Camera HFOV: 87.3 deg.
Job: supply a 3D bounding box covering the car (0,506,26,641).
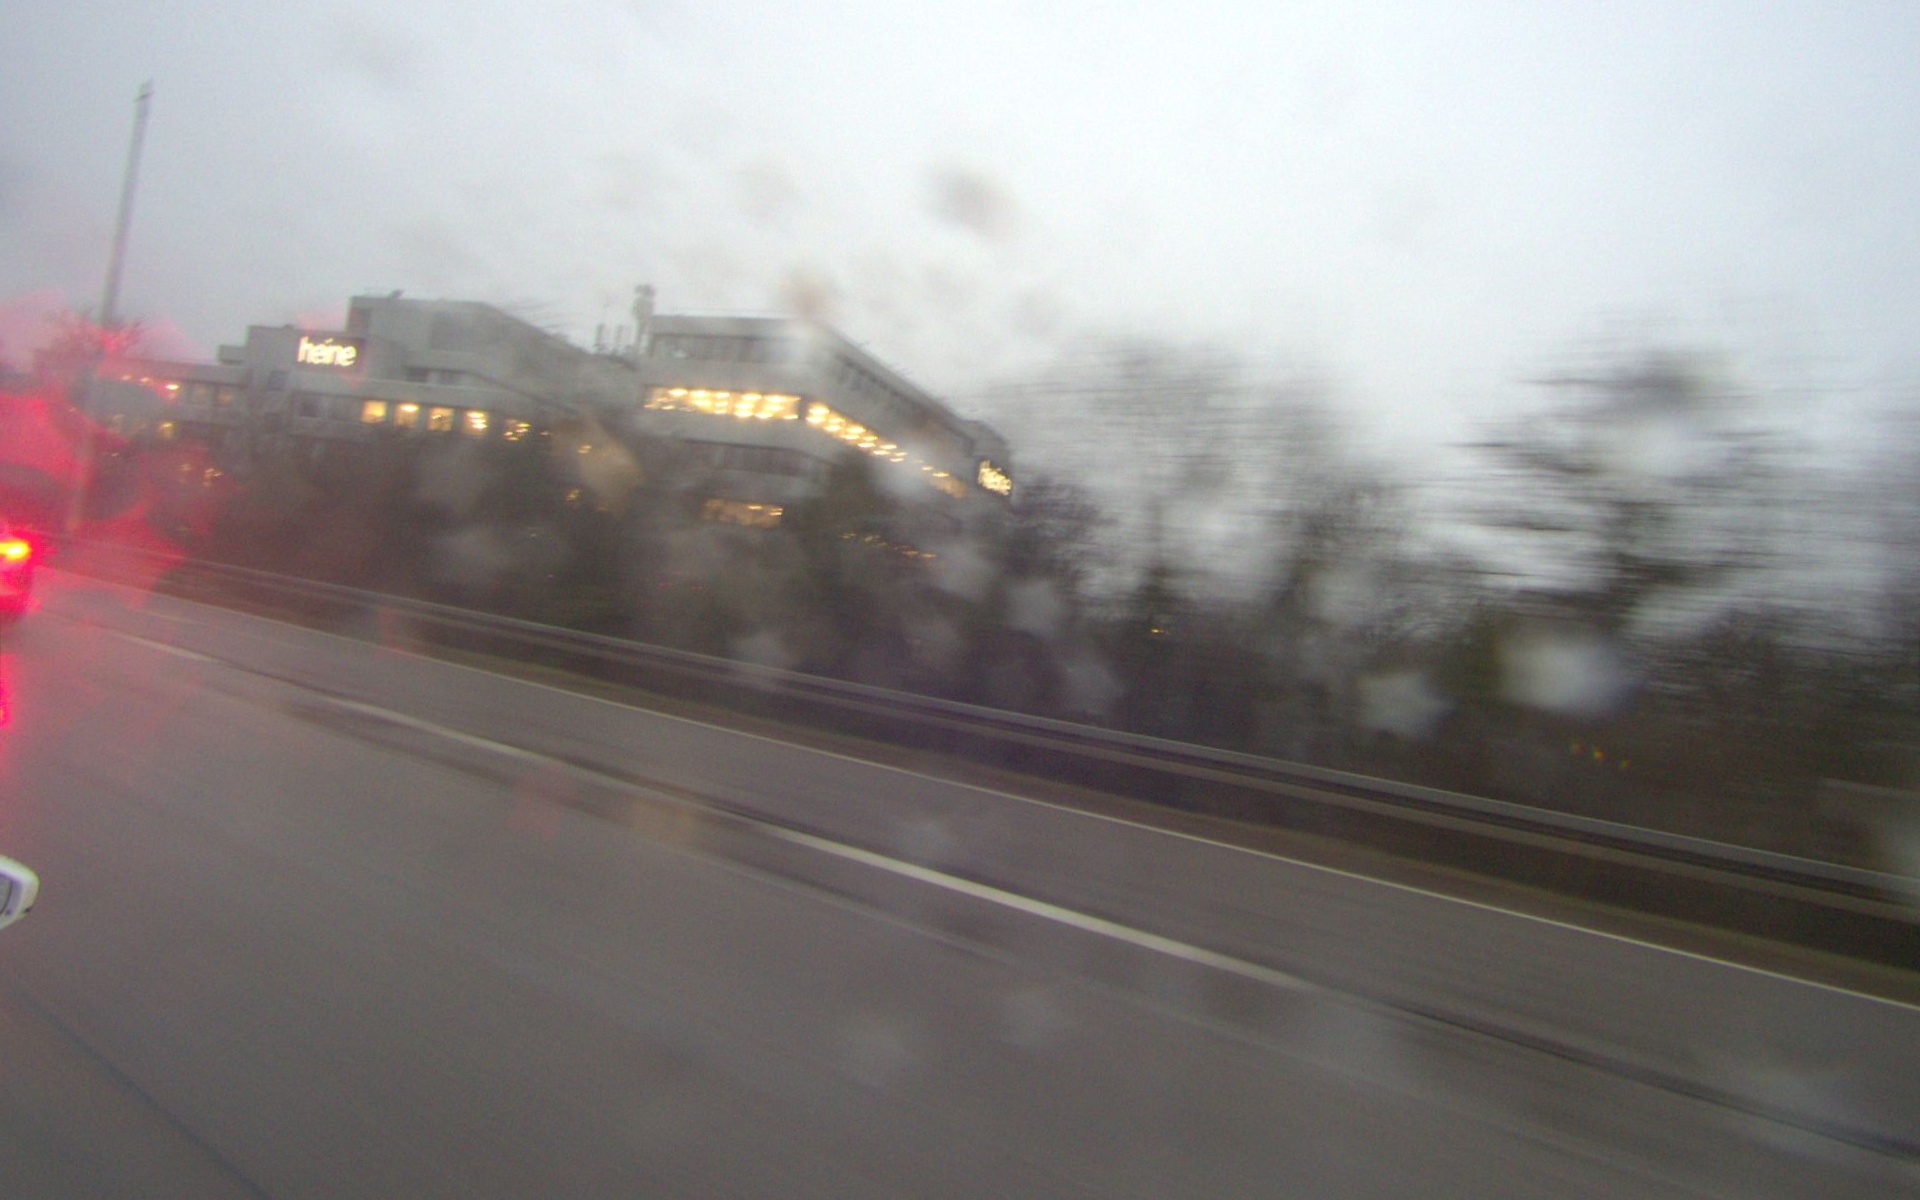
[{"bbox_3d":[-13.053,-0.581,11.794,4.190,1.519,1.854,7,-2,30],"label":"car"}]
